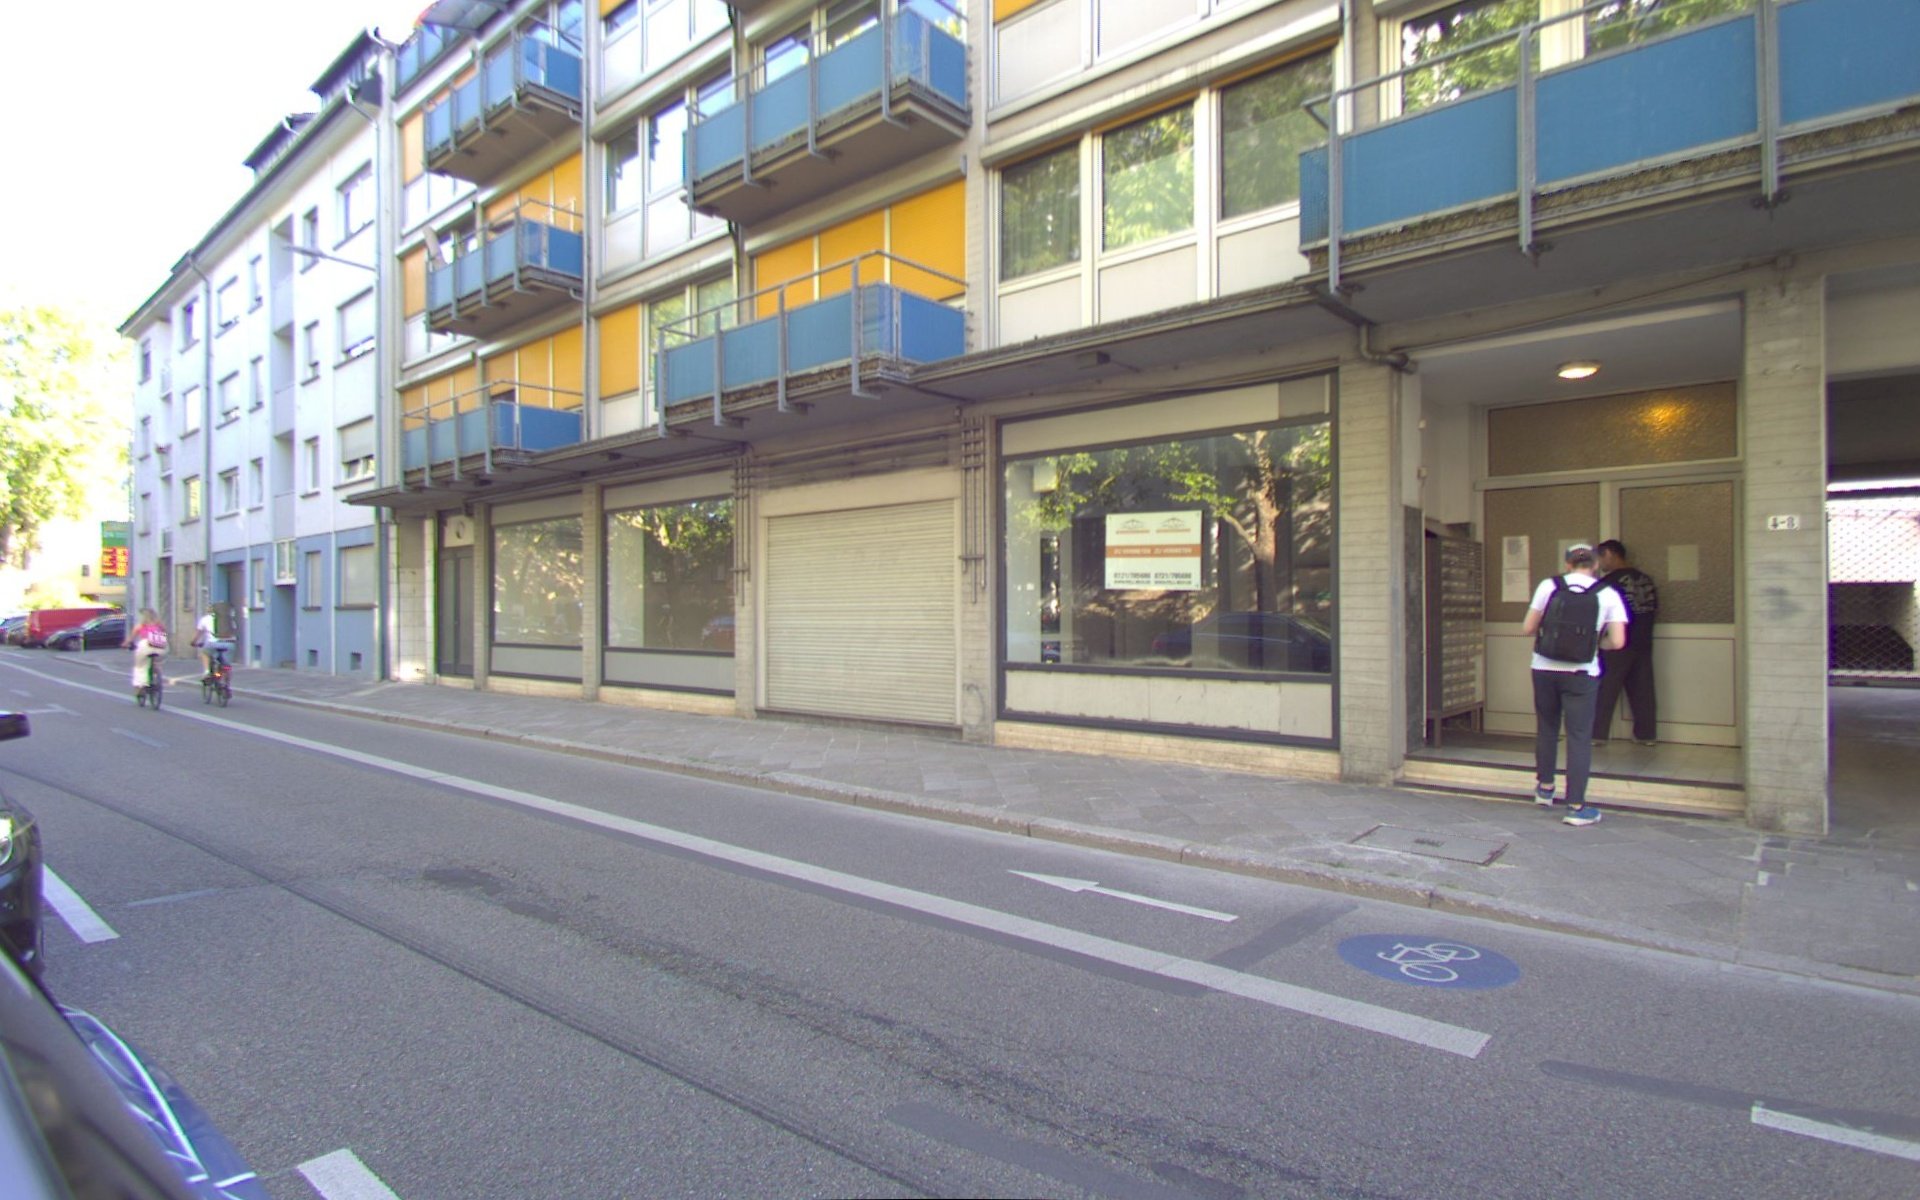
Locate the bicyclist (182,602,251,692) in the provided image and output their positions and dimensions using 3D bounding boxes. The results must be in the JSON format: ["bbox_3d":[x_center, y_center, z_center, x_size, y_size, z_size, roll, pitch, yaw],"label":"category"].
[{"bbox_3d":[-13.337,0.818,18.154,0.839,1.566,0.833,-1,-1,40],"label":"bicyclist"}]

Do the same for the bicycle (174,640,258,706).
[{"bbox_3d":[-13.420,1.286,18.238,1.835,1.087,0.854,-1,-1,41],"label":"bicycle"}]

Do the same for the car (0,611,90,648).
[{"bbox_3d":[-57.404,1.825,62.856,1.999,2.210,4.927,-1,-1,41],"label":"car"}]

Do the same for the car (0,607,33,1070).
[{"bbox_3d":[-5.019,0.790,3.864,3.861,1.467,1.718,-1,-1,40],"label":"car"}]

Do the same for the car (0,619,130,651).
[{"bbox_3d":[-45.729,1.754,51.697,1.999,1.506,4.927,-1,-1,41],"label":"car"}]

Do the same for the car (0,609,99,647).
[{"bbox_3d":[-55.410,1.675,61.146,1.999,2.210,4.927,-1,-1,41],"label":"car"}]

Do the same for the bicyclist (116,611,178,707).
[{"bbox_3d":[-13.975,0.986,17.394,0.981,1.590,0.677,-1,-1,41],"label":"bicyclist"}]

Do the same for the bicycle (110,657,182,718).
[{"bbox_3d":[-14.059,1.490,17.467,1.863,0.936,0.686,-1,-1,42],"label":"bicycle"}]

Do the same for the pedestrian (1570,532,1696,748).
[{"bbox_3d":[5.594,0.321,8.429,0.650,1.726,0.550,0,-1,-16],"label":"pedestrian"}]

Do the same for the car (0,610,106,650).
[{"bbox_3d":[-53.323,1.740,59.195,1.999,2.210,4.927,-1,-1,41],"label":"car"}]

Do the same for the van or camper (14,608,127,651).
[{"bbox_3d":[-43.896,1.433,50.005,1.999,2.029,3.946,-1,-1,40],"label":"van or camper"}]

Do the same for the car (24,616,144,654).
[{"bbox_3d":[-41.640,1.623,48.163,1.999,1.703,4.093,-1,-1,41],"label":"car"}]

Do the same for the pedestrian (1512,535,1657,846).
[{"bbox_3d":[3.977,0.522,6.428,0.601,1.813,0.867,-1,0,42],"label":"pedestrian"}]

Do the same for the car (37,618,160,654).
[{"bbox_3d":[-39.759,1.635,46.779,1.999,1.506,4.093,-1,-1,41],"label":"car"}]
